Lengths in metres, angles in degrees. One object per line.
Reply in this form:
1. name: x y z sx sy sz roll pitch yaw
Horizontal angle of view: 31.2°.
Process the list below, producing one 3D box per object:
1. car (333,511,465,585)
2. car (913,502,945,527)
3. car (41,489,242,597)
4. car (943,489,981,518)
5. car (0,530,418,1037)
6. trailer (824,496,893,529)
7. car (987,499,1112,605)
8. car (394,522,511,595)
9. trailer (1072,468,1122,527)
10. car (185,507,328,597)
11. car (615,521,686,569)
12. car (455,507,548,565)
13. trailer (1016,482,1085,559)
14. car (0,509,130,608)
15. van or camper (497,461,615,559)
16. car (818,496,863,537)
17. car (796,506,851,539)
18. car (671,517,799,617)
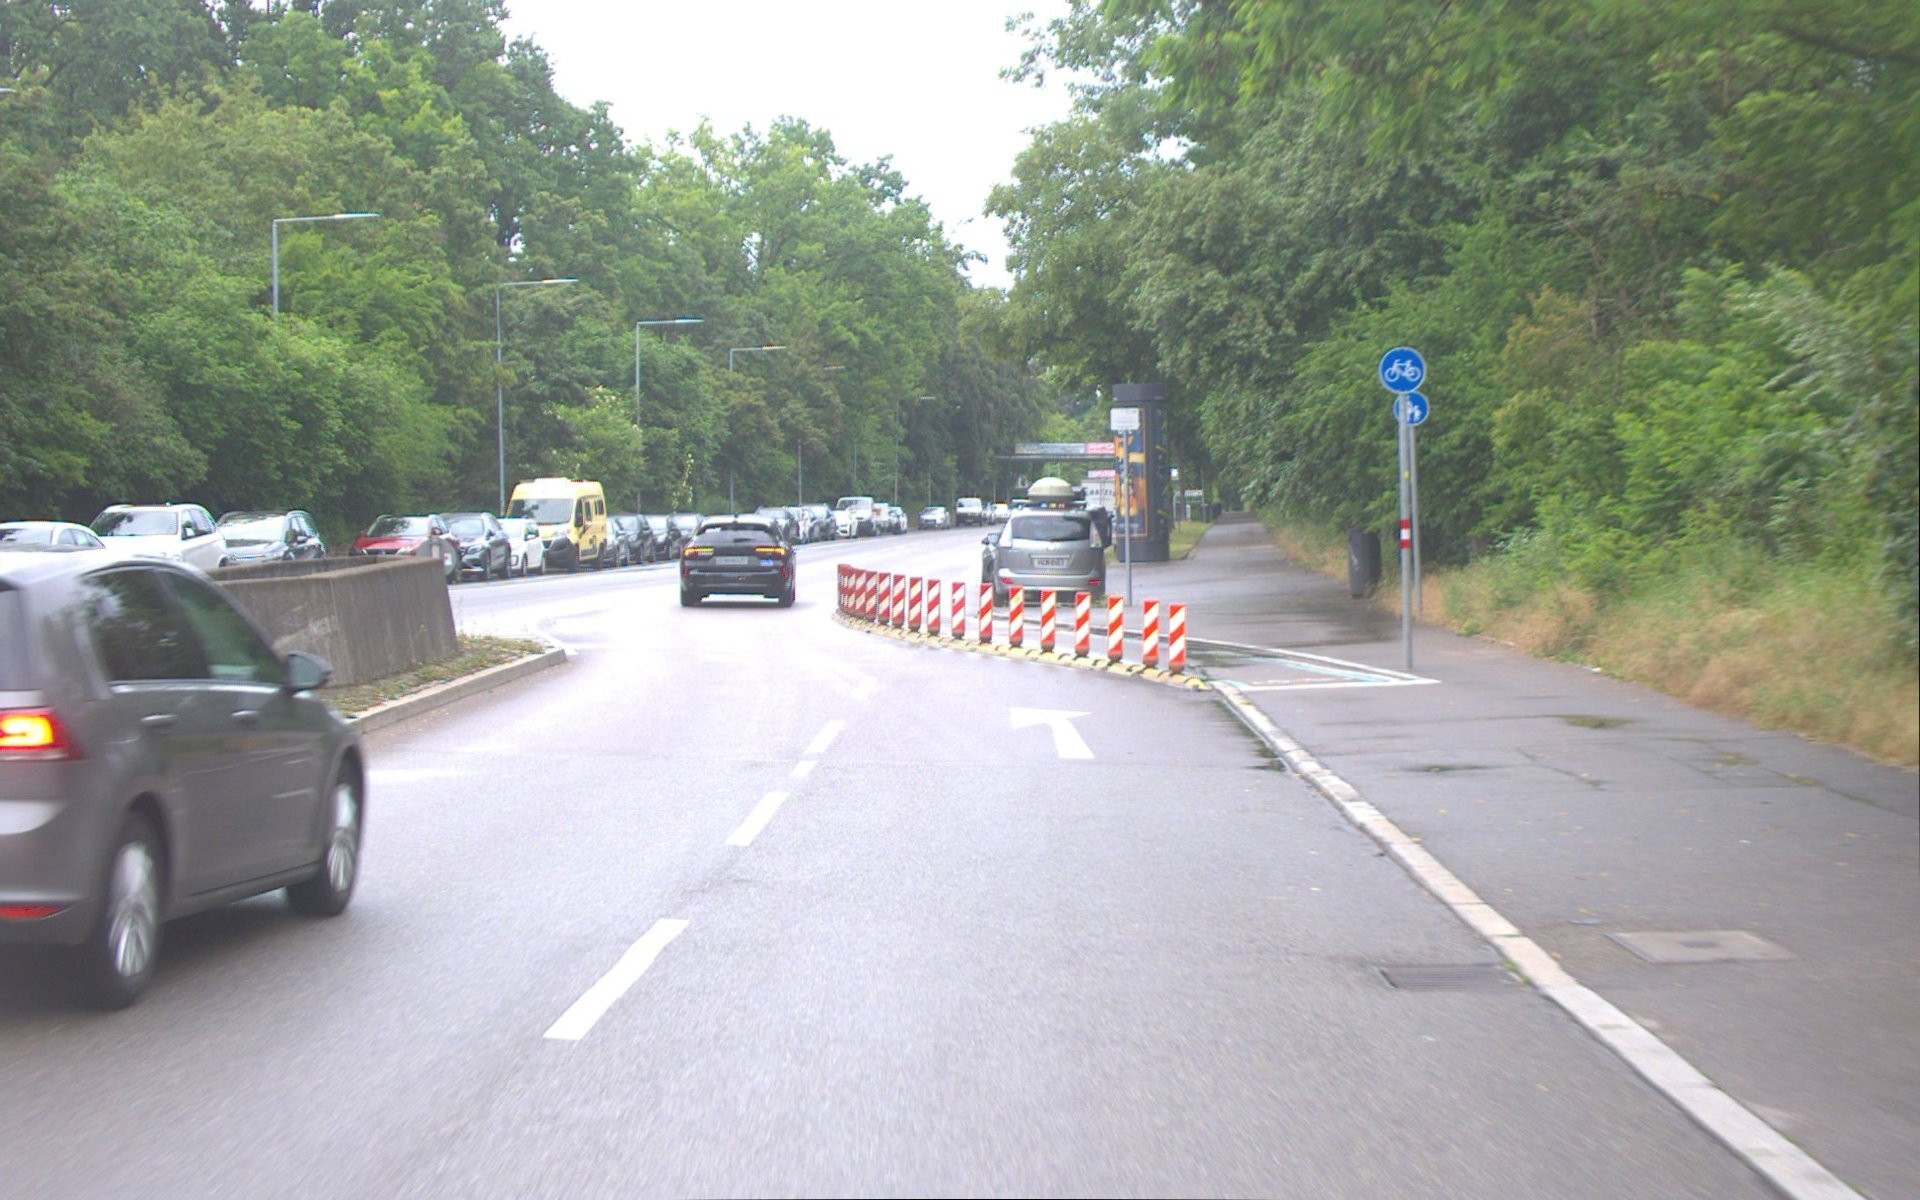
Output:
1. car: -12.660 -1.186 77.818 1.919 1.611 4.489 0 1 5
2. car: -1.921 -5.342 214.146 1.672 1.508 3.630 1 2 4
3. car: -13.947 -0.980 58.894 1.994 1.759 4.960 1 1 3
4. car: 0.153 -6.698 239.177 2.159 2.007 5.030 0 1 5
5. car: -3.341 0.494 11.980 1.872 1.436 4.295 2 0 5
6. trailer: -5.124 -4.442 174.236 1.629 1.623 3.665 1 2 35
7. car: 1.388 -0.776 55.007 1.822 1.609 4.252 1 1 -1
8. car: -12.291 -1.029 83.564 1.994 1.694 4.615 0 1 2
9. trailer: 5.986 -4.468 150.202 2.132 2.551 4.297 0 1 2
10. car: -13.527 -0.943 66.320 1.731 1.643 4.571 1 1 1
11. car: -10.000 -1.793 111.244 1.603 1.505 3.976 0 2 5
12. car: -11.802 -1.657 88.655 1.617 1.443 3.656 -1 1 5
13. trailer: 2.750 -2.417 103.763 1.906 2.240 4.768 1 2 4
14. car: -14.365 -0.674 52.985 1.718 1.455 4.708 0 1 4
15. van or camper: -11.133 -2.494 95.090 2.144 2.618 5.681 0 1 5
16. car: -5.871 -4.133 169.543 1.940 2.007 4.740 0 2 2
17. car: -6.274 -3.557 158.034 1.994 1.483 4.468 1 1 5
18. car: -3.657 -0.559 55.270 1.880 1.461 4.001 2 2 -6
